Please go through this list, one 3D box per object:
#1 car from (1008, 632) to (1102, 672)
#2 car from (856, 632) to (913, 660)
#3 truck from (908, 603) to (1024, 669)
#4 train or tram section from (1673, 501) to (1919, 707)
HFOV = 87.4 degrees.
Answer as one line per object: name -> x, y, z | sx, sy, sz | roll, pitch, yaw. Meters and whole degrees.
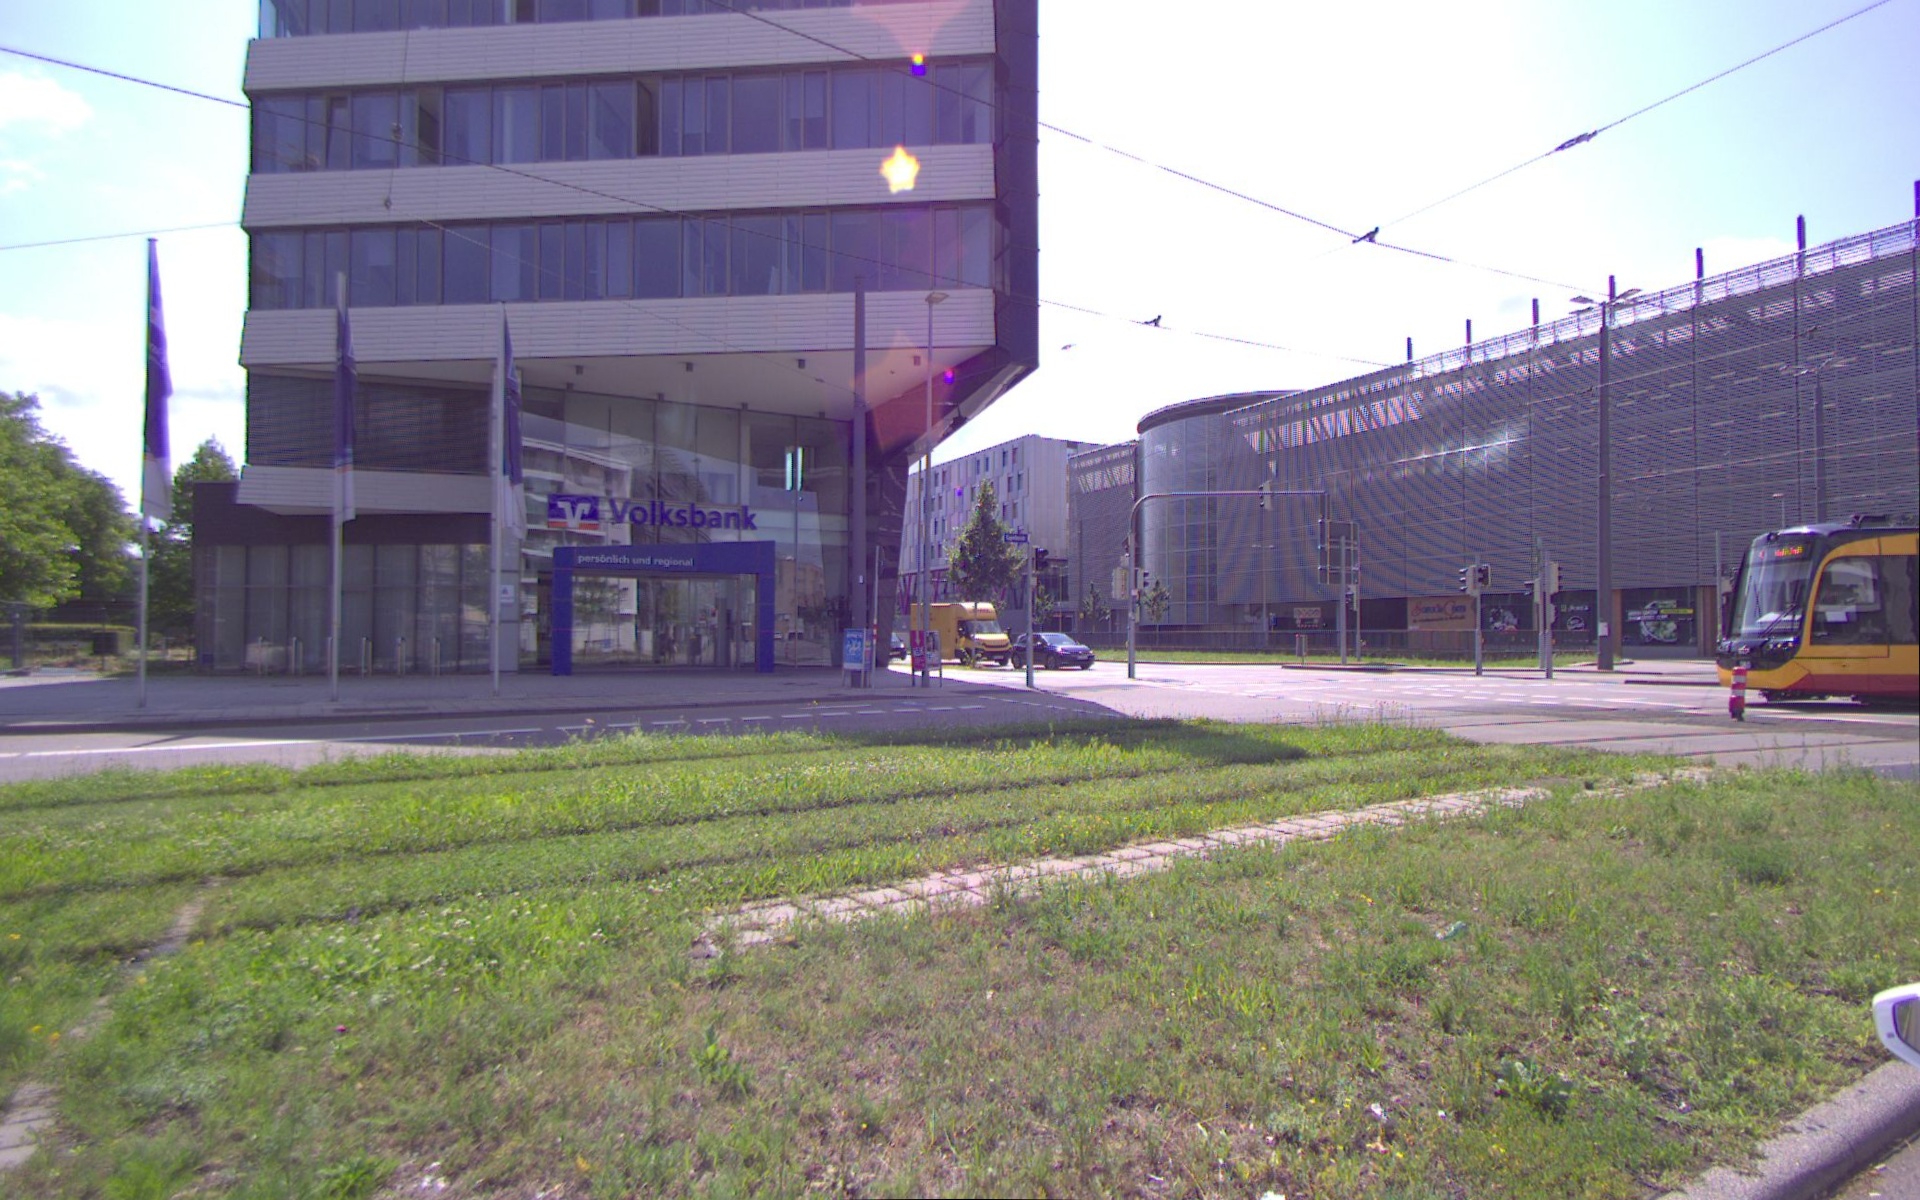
car -> 3.734, 2.038, 40.124 | 1.804, 1.488, 4.083 | 1, -2, -28
car -> -4.163, 2.503, 55.071 | 1.804, 1.488, 3.760 | 1, -2, -28
truck -> 0.132, 1.677, 46.905 | 2.417, 2.866, 6.818 | 1, -2, -29
train or tram section -> 21.539, 0.115, 19.231 | 13.229, 3.647, 3.228 | 0, -1, 3
